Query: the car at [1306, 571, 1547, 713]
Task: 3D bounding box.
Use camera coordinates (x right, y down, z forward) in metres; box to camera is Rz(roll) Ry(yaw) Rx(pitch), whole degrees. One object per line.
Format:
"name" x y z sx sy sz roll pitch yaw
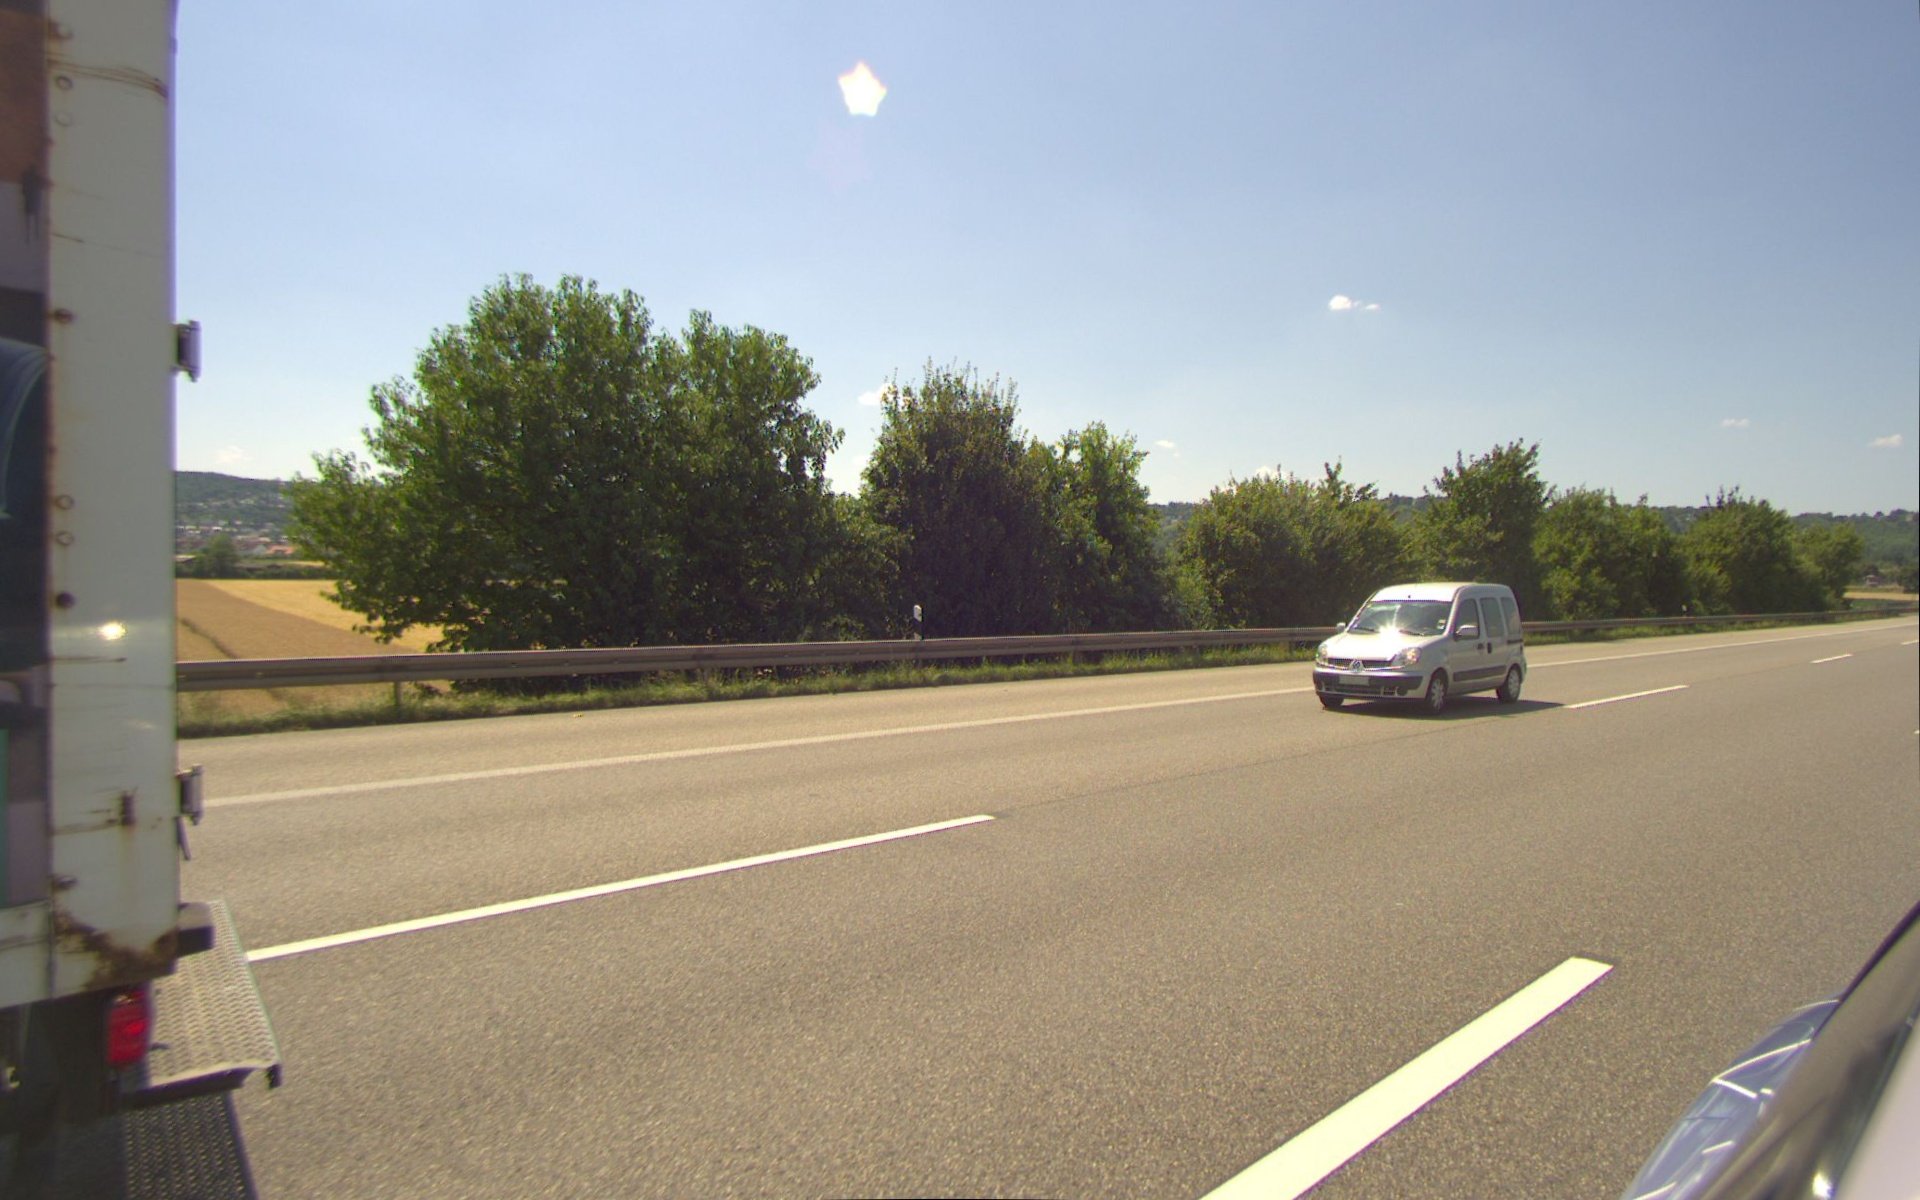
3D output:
"car" 6.725 0.517 14.426 3.902 1.759 1.630 0 0 -40

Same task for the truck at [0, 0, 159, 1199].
"truck" -4.616 -0.149 0.405 6.634 3.106 2.324 0 0 -42
